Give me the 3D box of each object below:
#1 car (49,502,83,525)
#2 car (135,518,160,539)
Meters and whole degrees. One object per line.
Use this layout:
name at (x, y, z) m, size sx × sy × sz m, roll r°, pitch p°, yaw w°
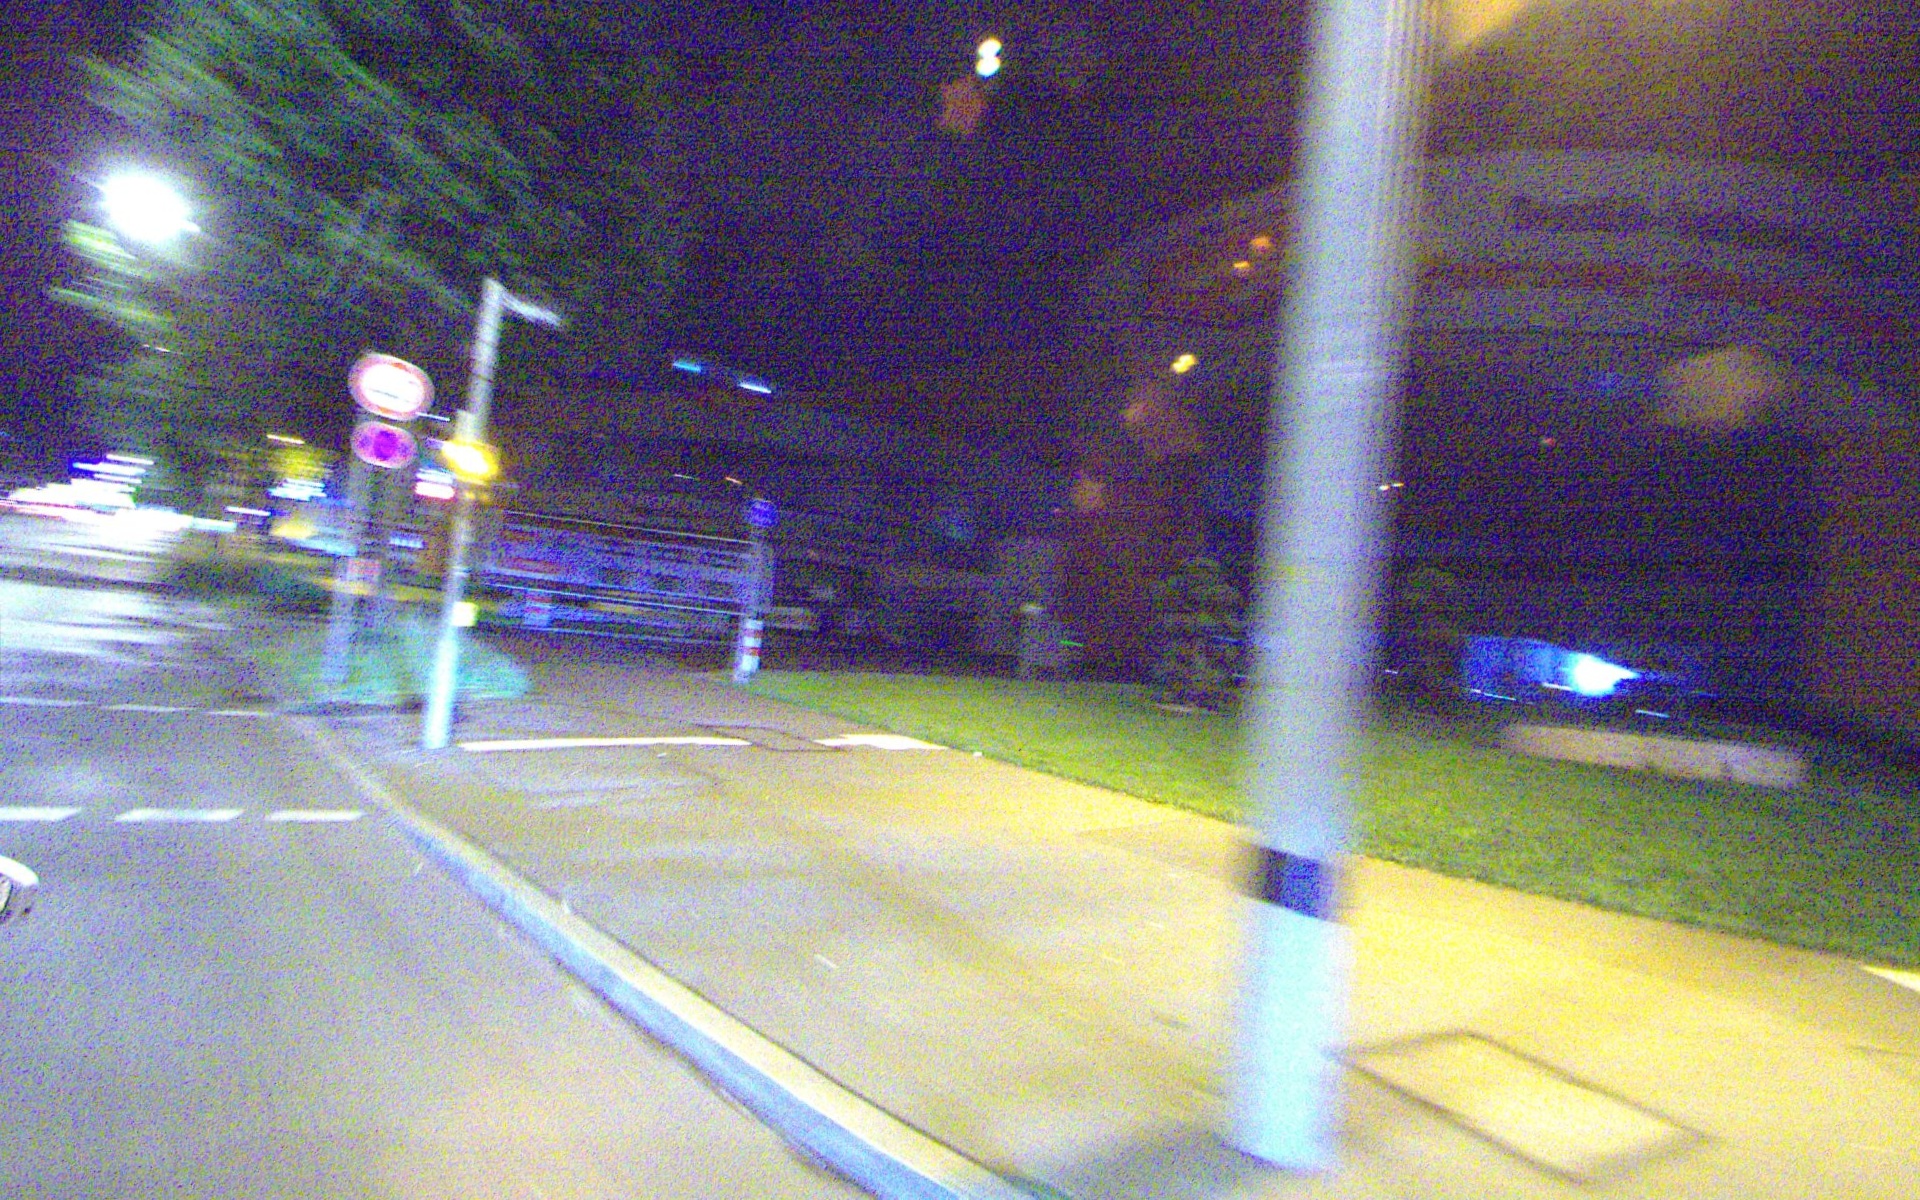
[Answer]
car at (-82.228, -7.950, 92.569) m, size 1.851 × 1.677 × 4.414 m, roll 11°, pitch -4°, yaw -38°
car at (-84.826, -7.466, 105.027) m, size 1.800 × 1.680 × 3.954 m, roll 12°, pitch -2°, yaw -40°
